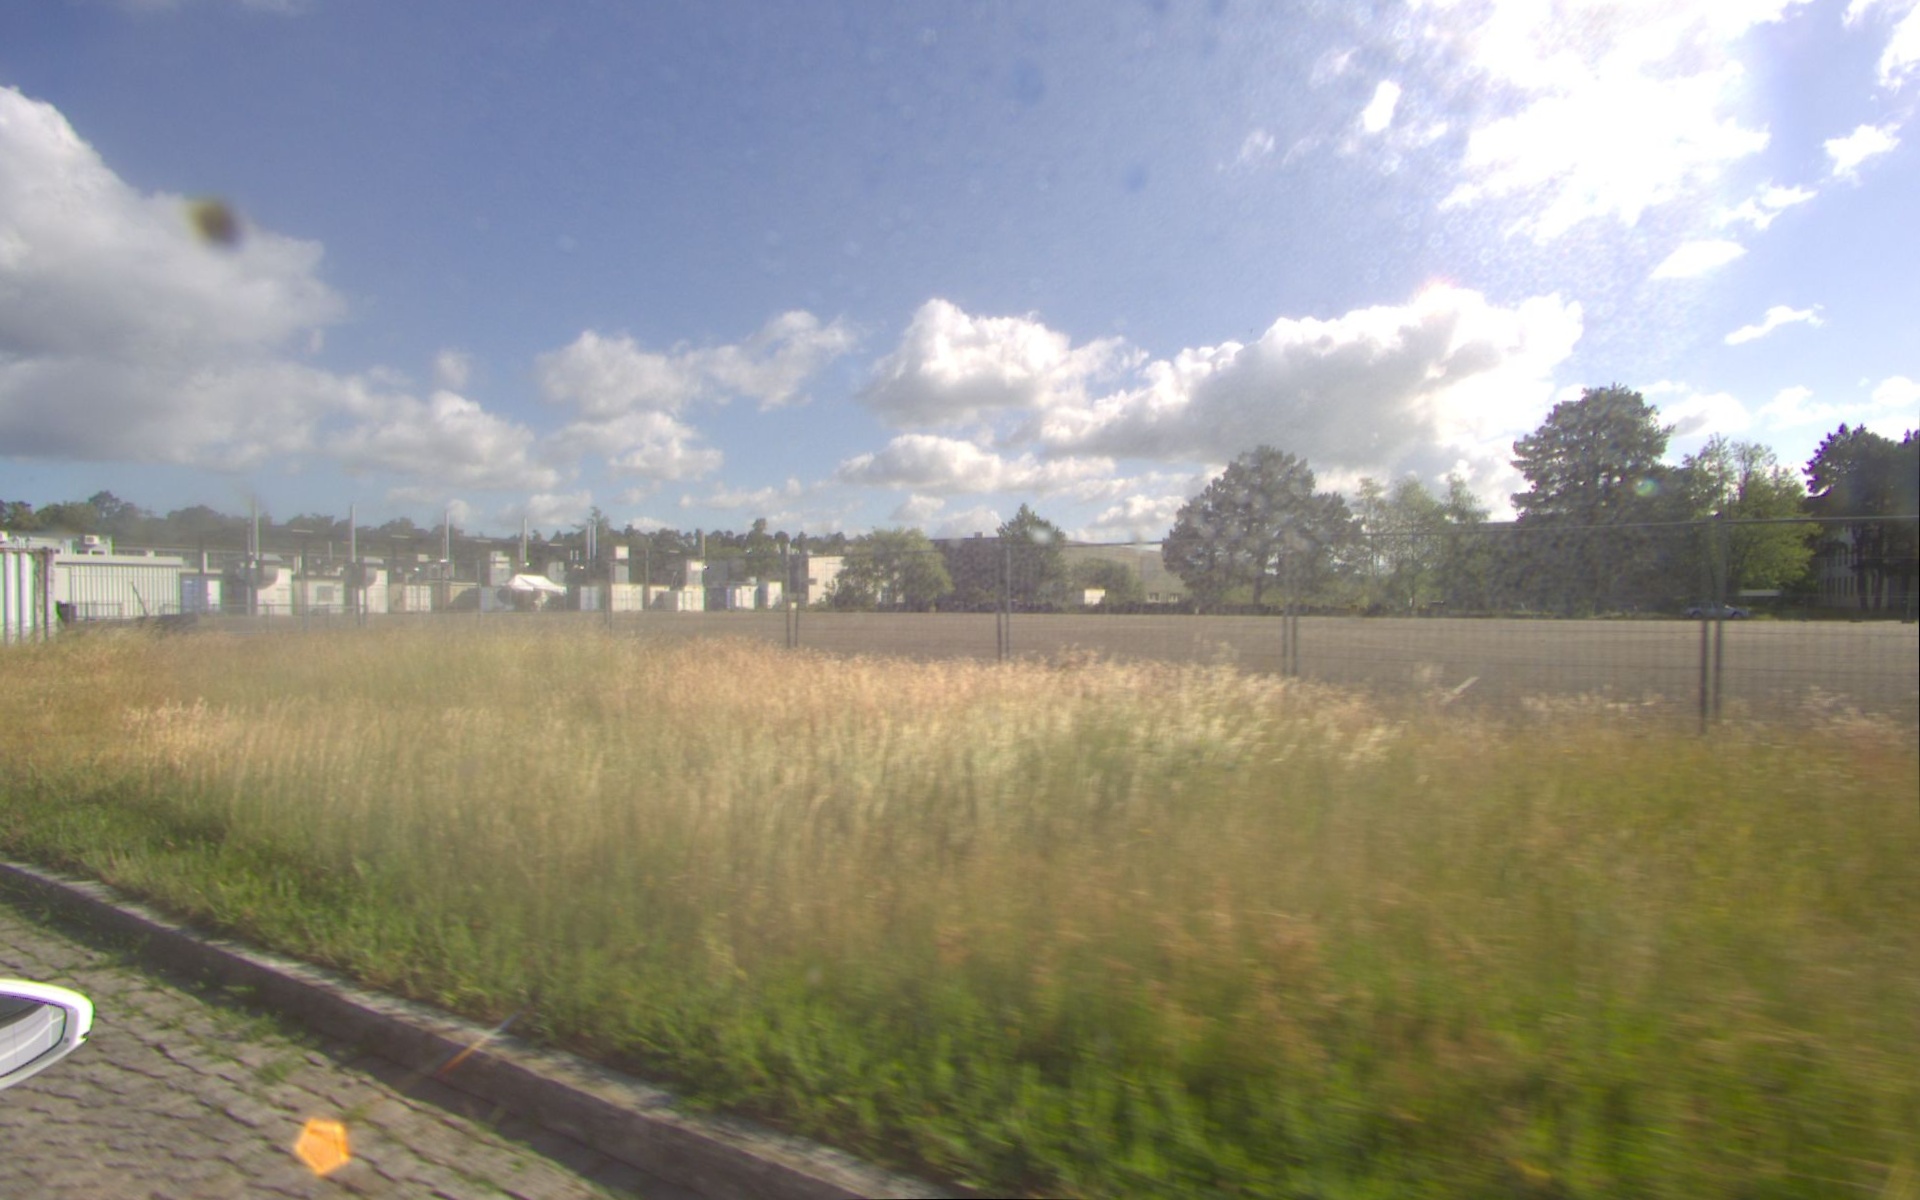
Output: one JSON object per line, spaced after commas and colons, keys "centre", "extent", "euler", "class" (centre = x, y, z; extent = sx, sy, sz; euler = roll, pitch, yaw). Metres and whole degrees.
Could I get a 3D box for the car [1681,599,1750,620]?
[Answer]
{"centre": [58.453, 0.702, 77.588], "extent": [3.937, 1.603, 1.992], "euler": [0, 1, 28], "class": "car"}
